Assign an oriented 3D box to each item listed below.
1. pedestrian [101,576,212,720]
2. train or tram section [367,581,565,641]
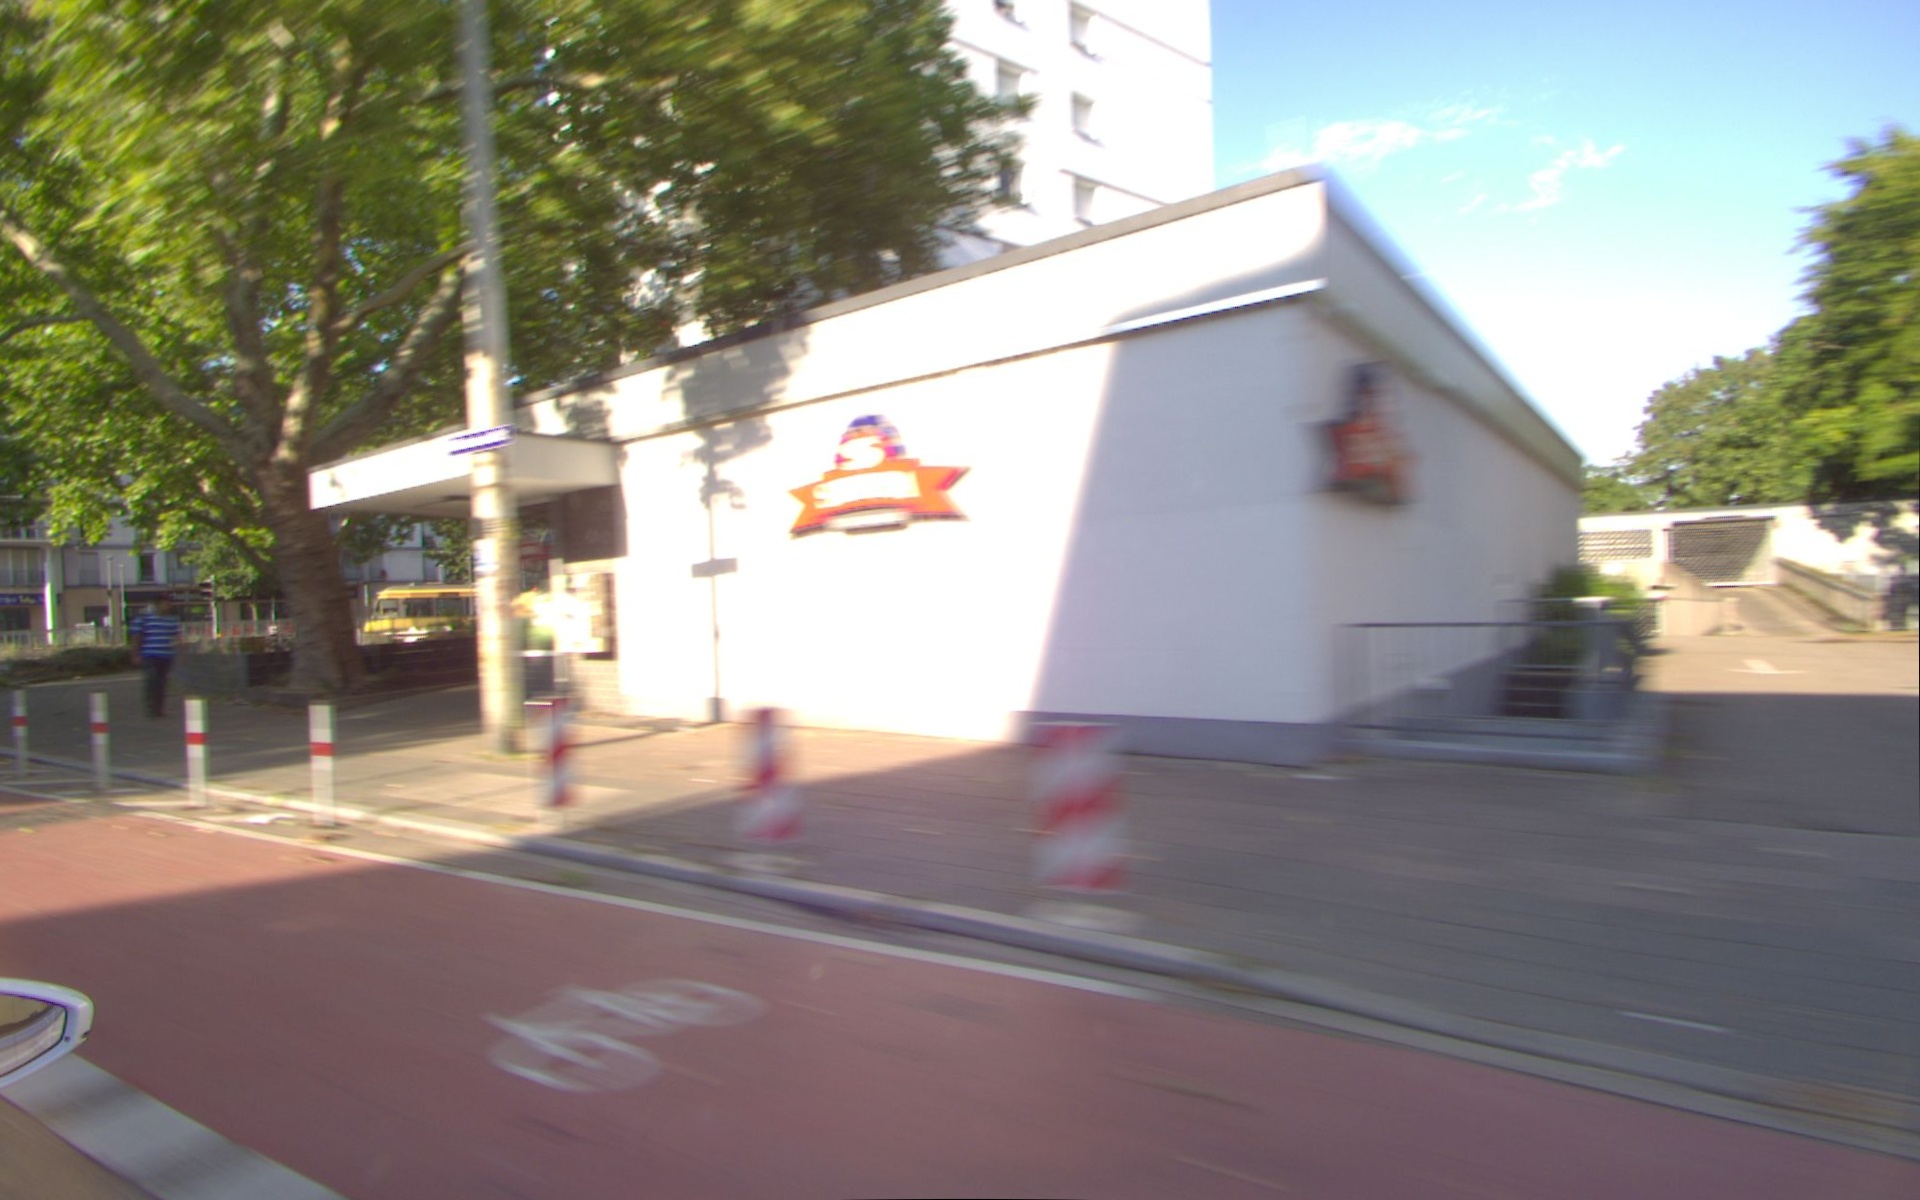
[{"bbox_3d":[-12.095,0.714,15.080,1.137,2.041,0.824,-3,3,32],"label":"pedestrian"},{"bbox_3d":[-33.375,0.765,68.103,11.684,3.685,3.395,0,-3,-37],"label":"train or tram section"}]
